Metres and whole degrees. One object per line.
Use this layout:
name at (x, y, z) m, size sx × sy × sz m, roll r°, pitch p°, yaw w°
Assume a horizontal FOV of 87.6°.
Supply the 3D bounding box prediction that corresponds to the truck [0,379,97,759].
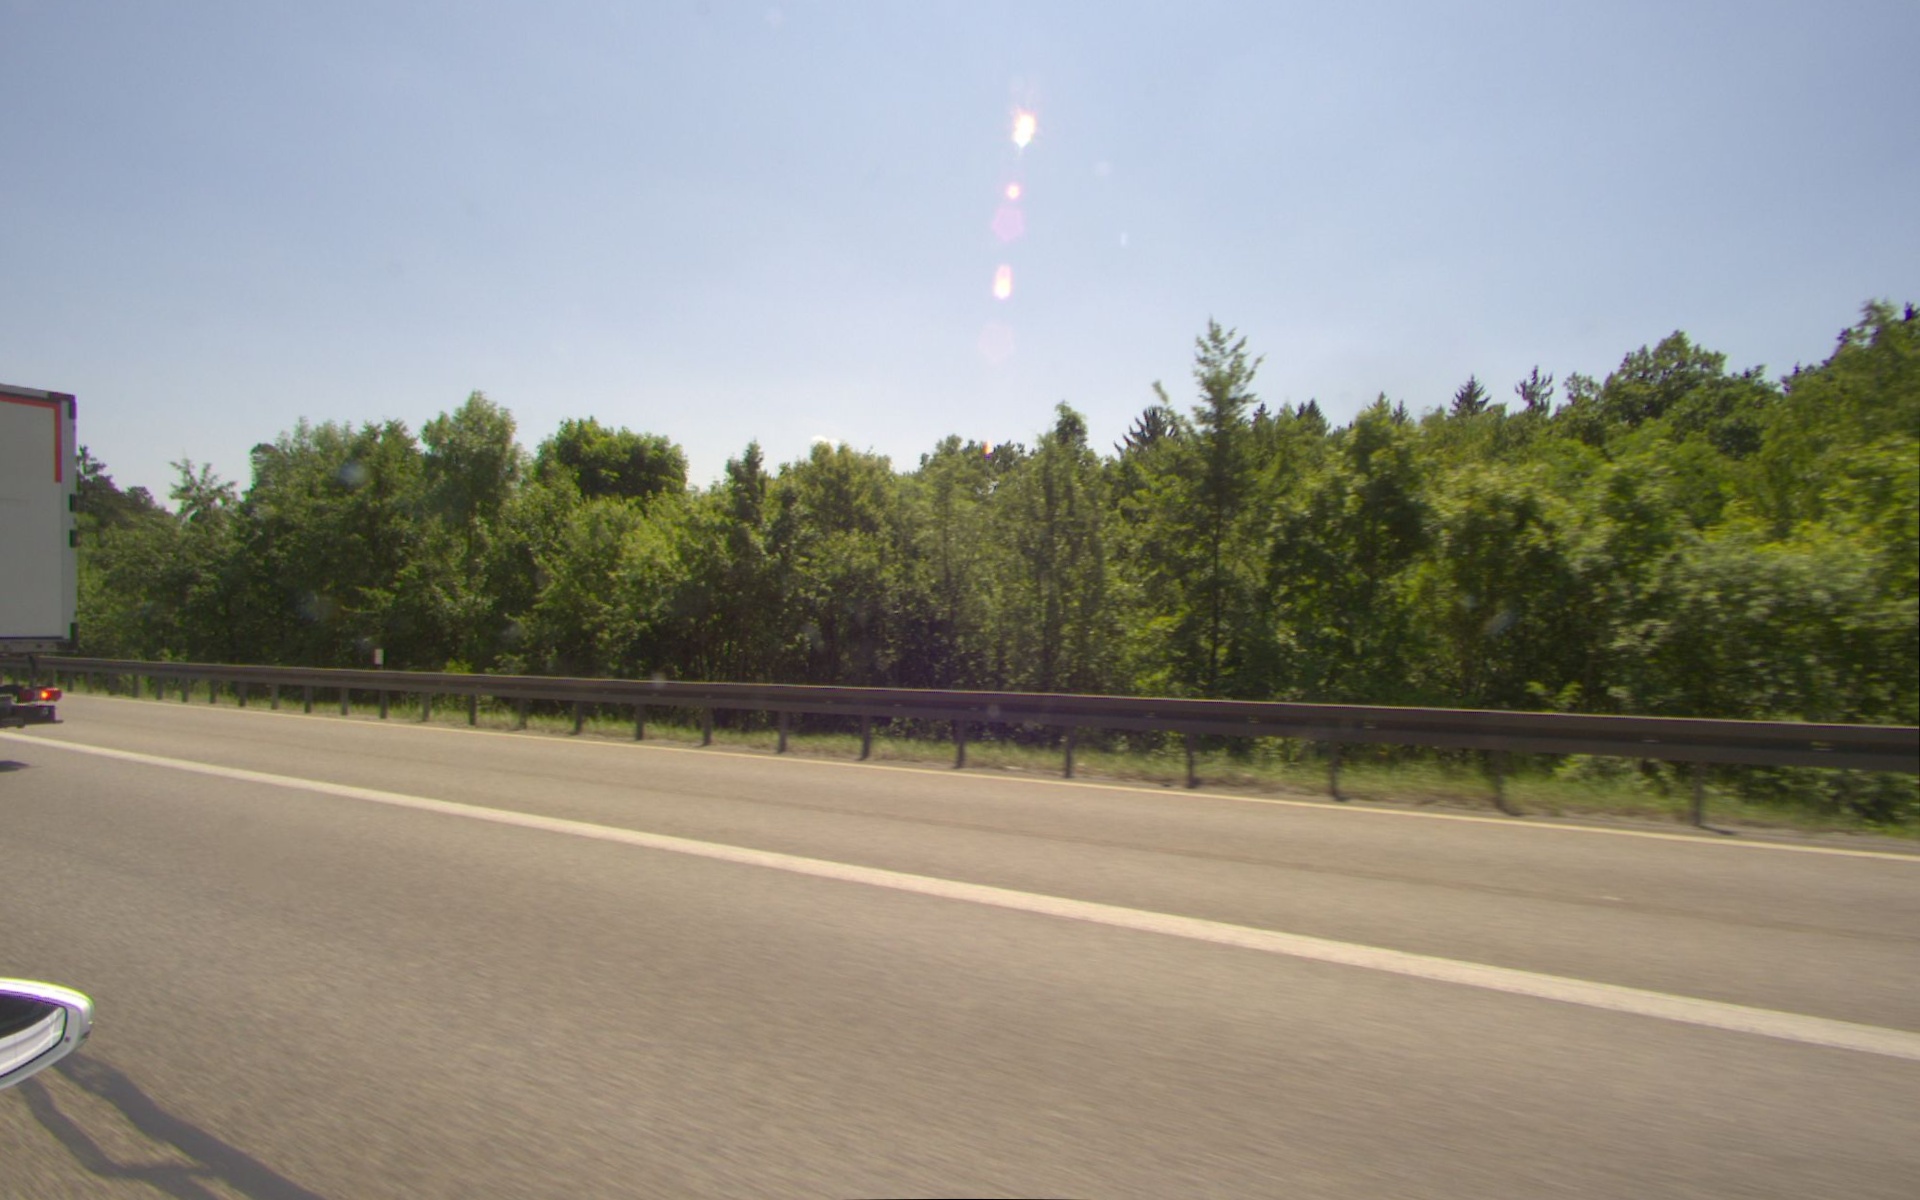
truck at (-14.342, -0.249, 12.370) m, size 9.638 × 3.929 × 2.682 m, roll -1°, pitch 1°, yaw 32°
